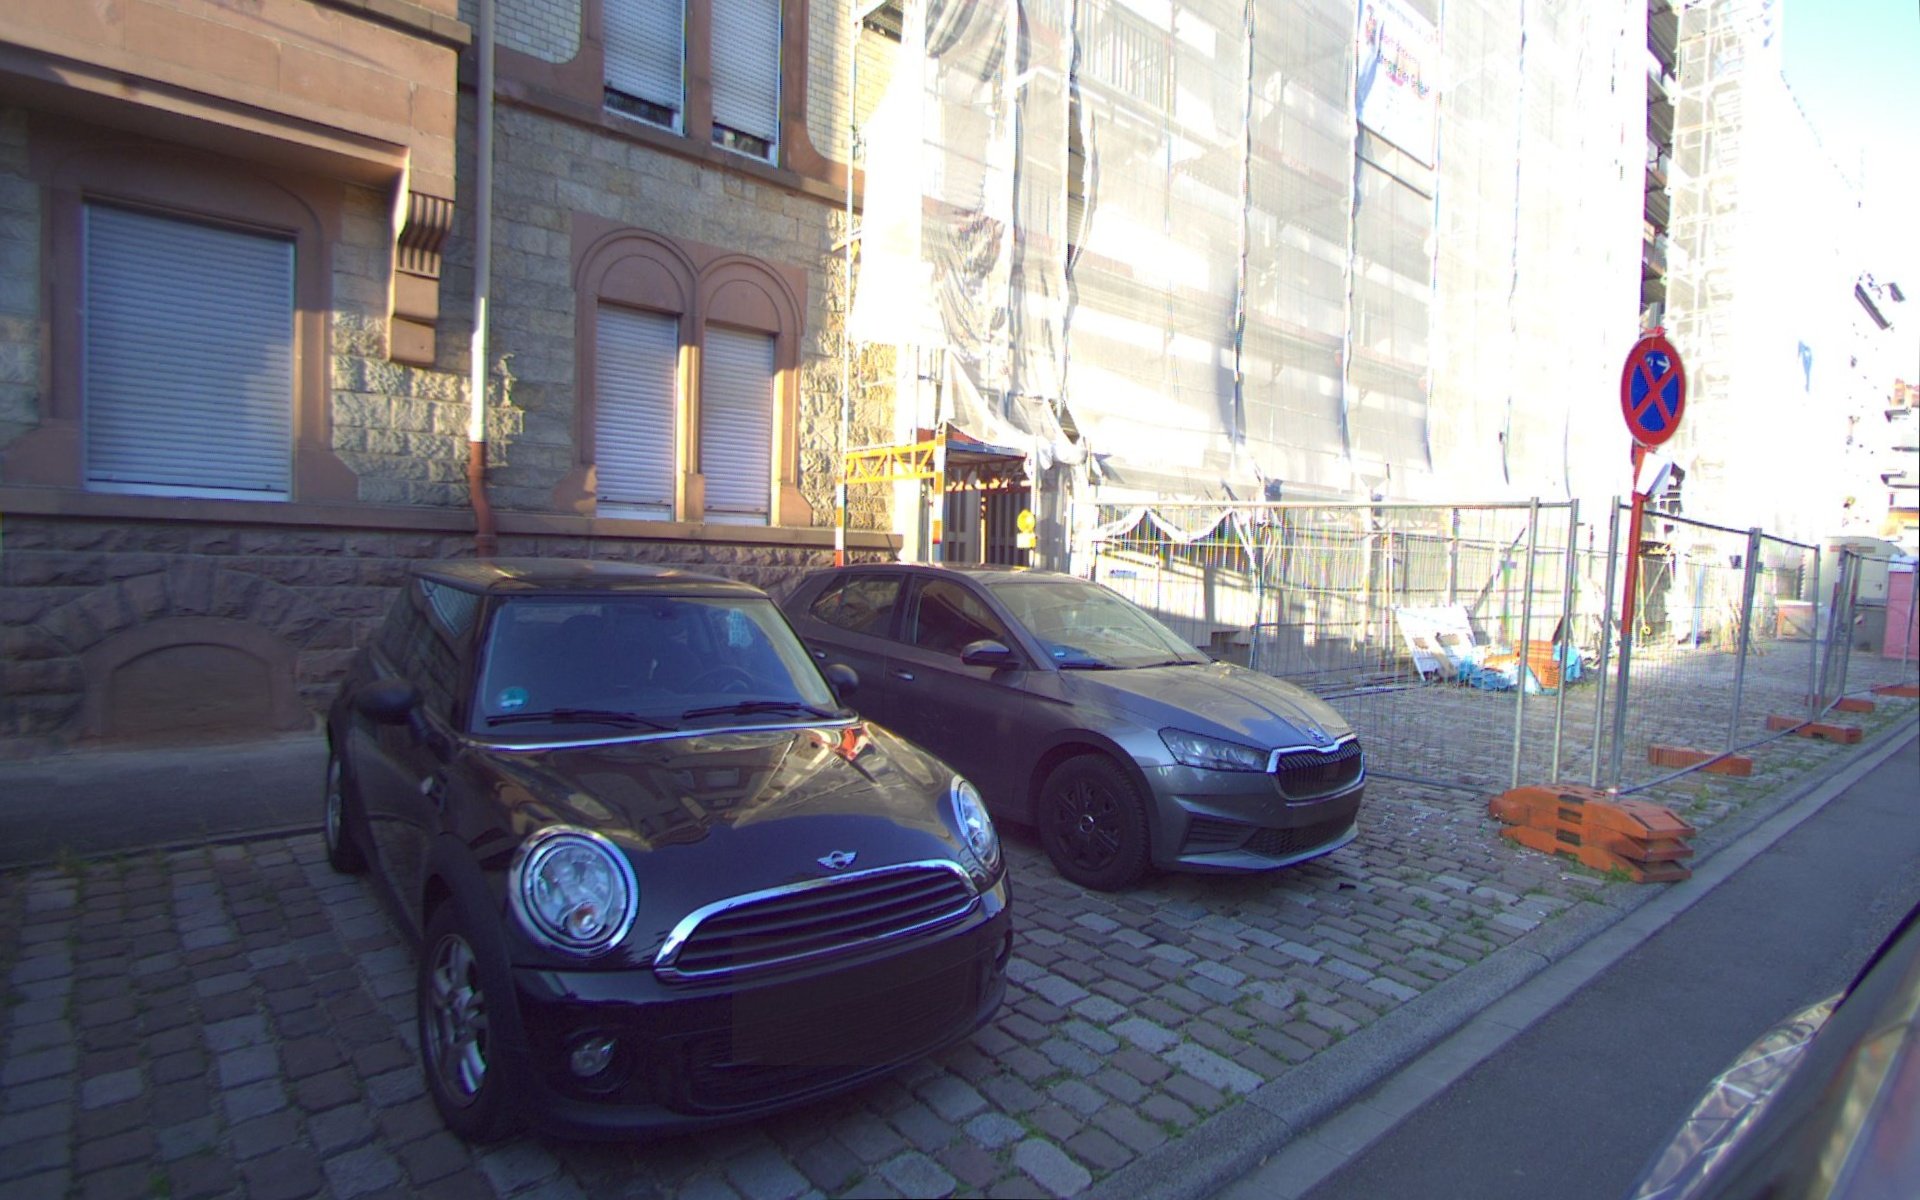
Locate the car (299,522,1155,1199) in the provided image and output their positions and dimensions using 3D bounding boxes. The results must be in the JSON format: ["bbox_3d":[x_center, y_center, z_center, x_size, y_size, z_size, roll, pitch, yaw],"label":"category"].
[{"bbox_3d":[-1.348,0.497,4.031,1.755,1.503,3.947,-2,6,-39],"label":"car"}]

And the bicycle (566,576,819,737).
[{"bbox_3d":[-2.157,0.403,8.406,0.630,1.183,2.003,2,1,43],"label":"bicycle"}]

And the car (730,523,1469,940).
[{"bbox_3d":[0.564,0.407,6.104,1.987,1.533,3.992,-1,5,-45],"label":"car"}]

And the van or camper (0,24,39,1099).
[{"bbox_3d":[-3.235,-0.115,1.901,2.073,2.804,5.939,0,1,-41],"label":"van or camper"}]

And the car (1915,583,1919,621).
[{"bbox_3d":[44.219,0.151,43.882,1.871,1.658,3.992,0,2,-43],"label":"car"}]

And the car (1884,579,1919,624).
[{"bbox_3d":[36.989,0.125,37.224,1.838,1.635,4.164,0,2,-39],"label":"car"}]
